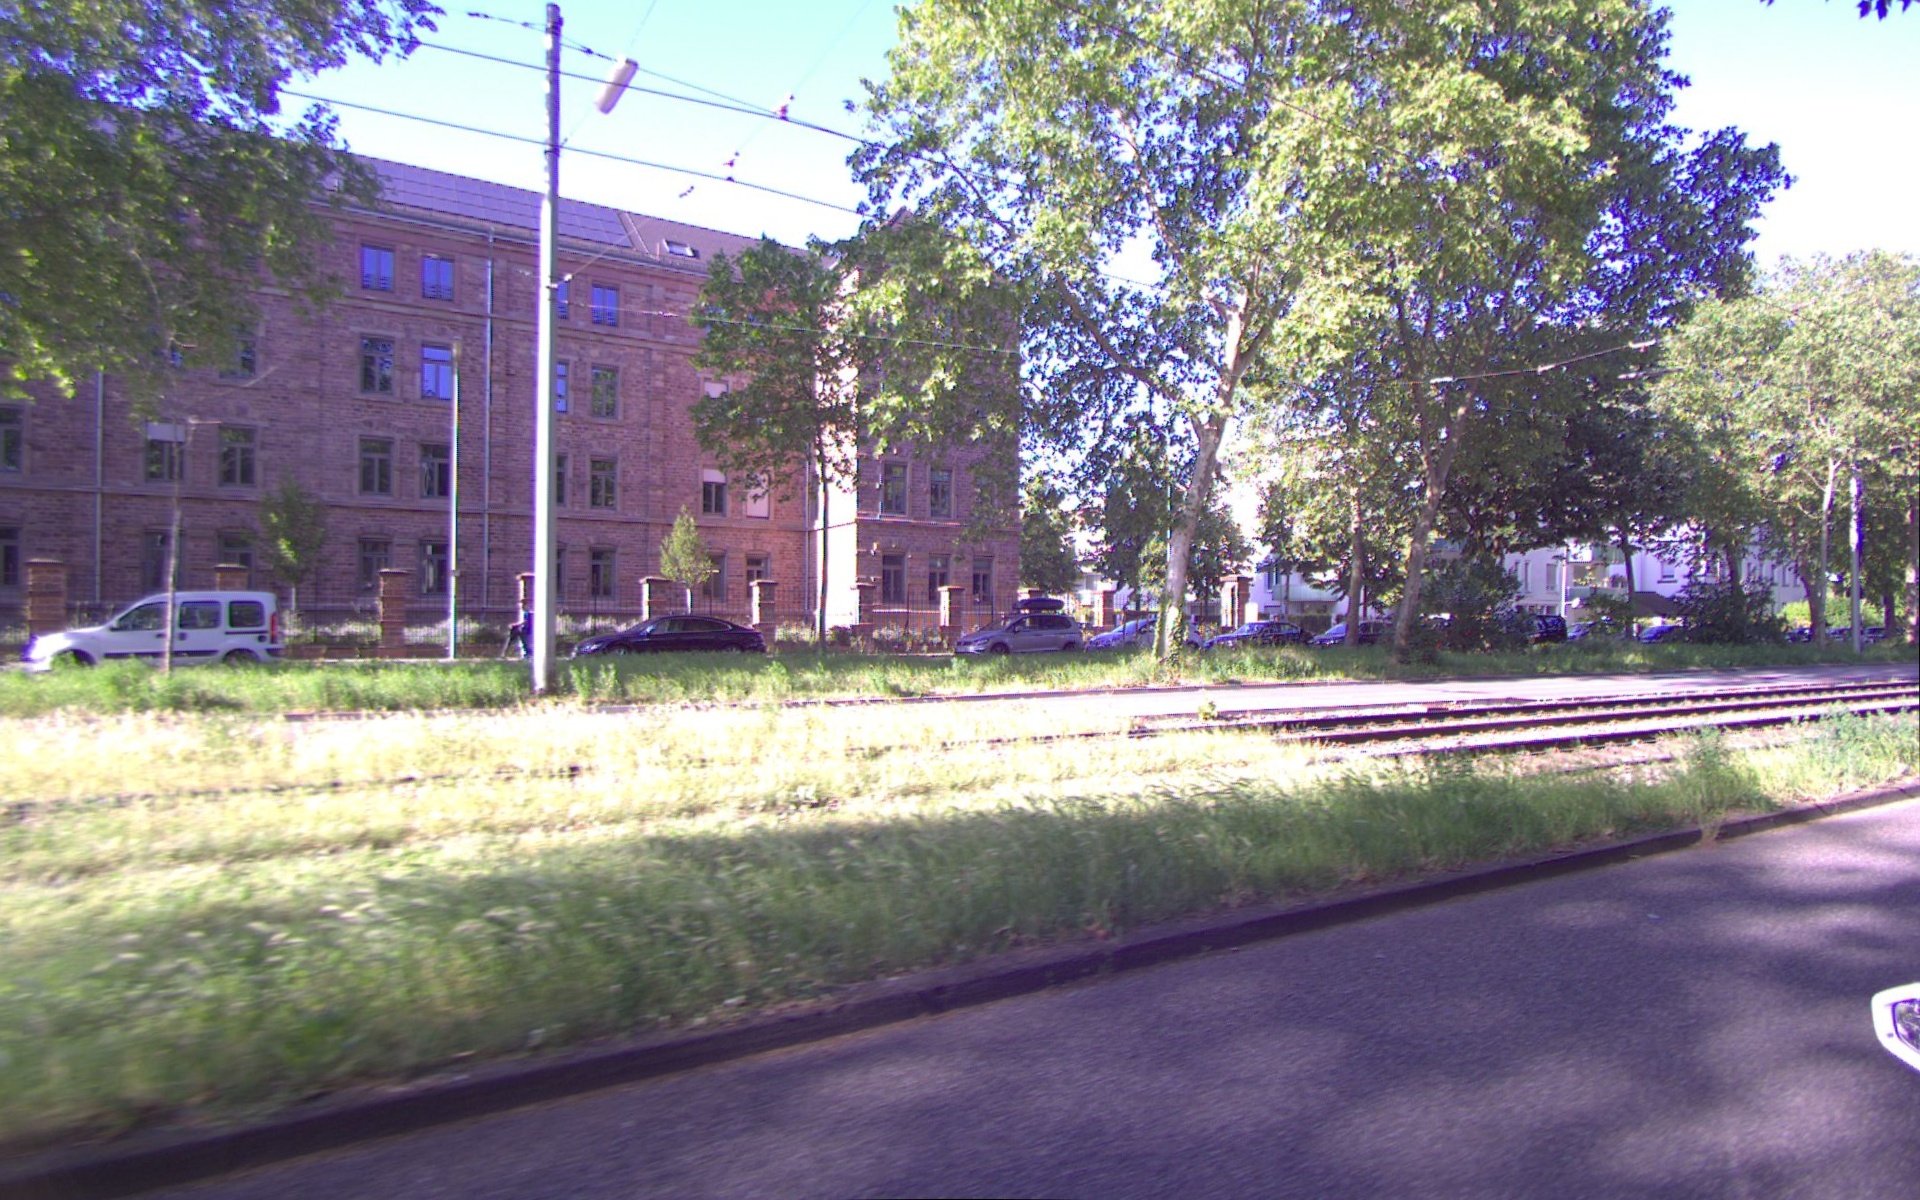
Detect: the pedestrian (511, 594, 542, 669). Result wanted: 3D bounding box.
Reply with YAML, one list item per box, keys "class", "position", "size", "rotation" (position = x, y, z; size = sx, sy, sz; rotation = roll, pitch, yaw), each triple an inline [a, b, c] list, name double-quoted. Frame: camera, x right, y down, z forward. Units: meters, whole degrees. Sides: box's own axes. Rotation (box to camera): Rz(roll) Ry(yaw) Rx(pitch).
- class: "pedestrian"
  position: [-11.853, 0.856, 27.452]
  size: [0.702, 2.040, 0.582]
  rotation: [1, -1, -31]

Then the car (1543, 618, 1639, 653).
- class: "car"
  position: [30.753, 1.774, 48.910]
  size: [5.035, 1.619, 2.016]
  rotation: [2, -4, -34]

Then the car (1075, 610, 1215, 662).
- class: "car"
  position: [6.267, 1.188, 33.953]
  size: [4.362, 1.637, 1.987]
  rotation: [1, -1, -26]

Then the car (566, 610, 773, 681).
- class: "car"
  position: [-7.400, 1.090, 25.702]
  size: [4.769, 1.671, 1.984]
  rotation: [0, -1, -30]

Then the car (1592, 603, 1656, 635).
- class: "car"
  position: [43.795, 1.282, 66.273]
  size: [3.952, 2.040, 1.985]
  rotation: [1, -1, -29]

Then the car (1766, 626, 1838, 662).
- class: "car"
  position: [50.683, 2.626, 60.457]
  size: [4.051, 2.040, 1.985]
  rotation: [1, -1, -29]

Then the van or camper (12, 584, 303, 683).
- class: "van or camper"
  position: [-16.039, 0.681, 20.442]
  size: [4.384, 1.811, 1.982]
  rotation: [1, -2, -33]

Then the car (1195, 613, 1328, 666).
- class: "car"
  position: [11.044, 1.393, 36.696]
  size: [4.685, 1.833, 2.098]
  rotation: [1, -1, -32]

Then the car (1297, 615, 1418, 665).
- class: "car"
  position: [15.641, 1.535, 39.437]
  size: [4.686, 1.833, 2.097]
  rotation: [1, -1, -32]

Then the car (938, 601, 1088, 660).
- class: "car"
  position: [1.643, 0.928, 31.108]
  size: [4.362, 1.742, 1.762]
  rotation: [1, -1, -27]

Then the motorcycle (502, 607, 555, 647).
- class: "motorcycle"
  position: [-11.810, 0.725, 27.494]
  size: [1.278, 1.067, 0.581]
  rotation: [1, -1, -30]

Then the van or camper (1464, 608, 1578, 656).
- class: "van or camper"
  position: [25.439, 1.436, 45.496]
  size: [5.156, 2.040, 2.255]
  rotation: [2, -1, -31]
